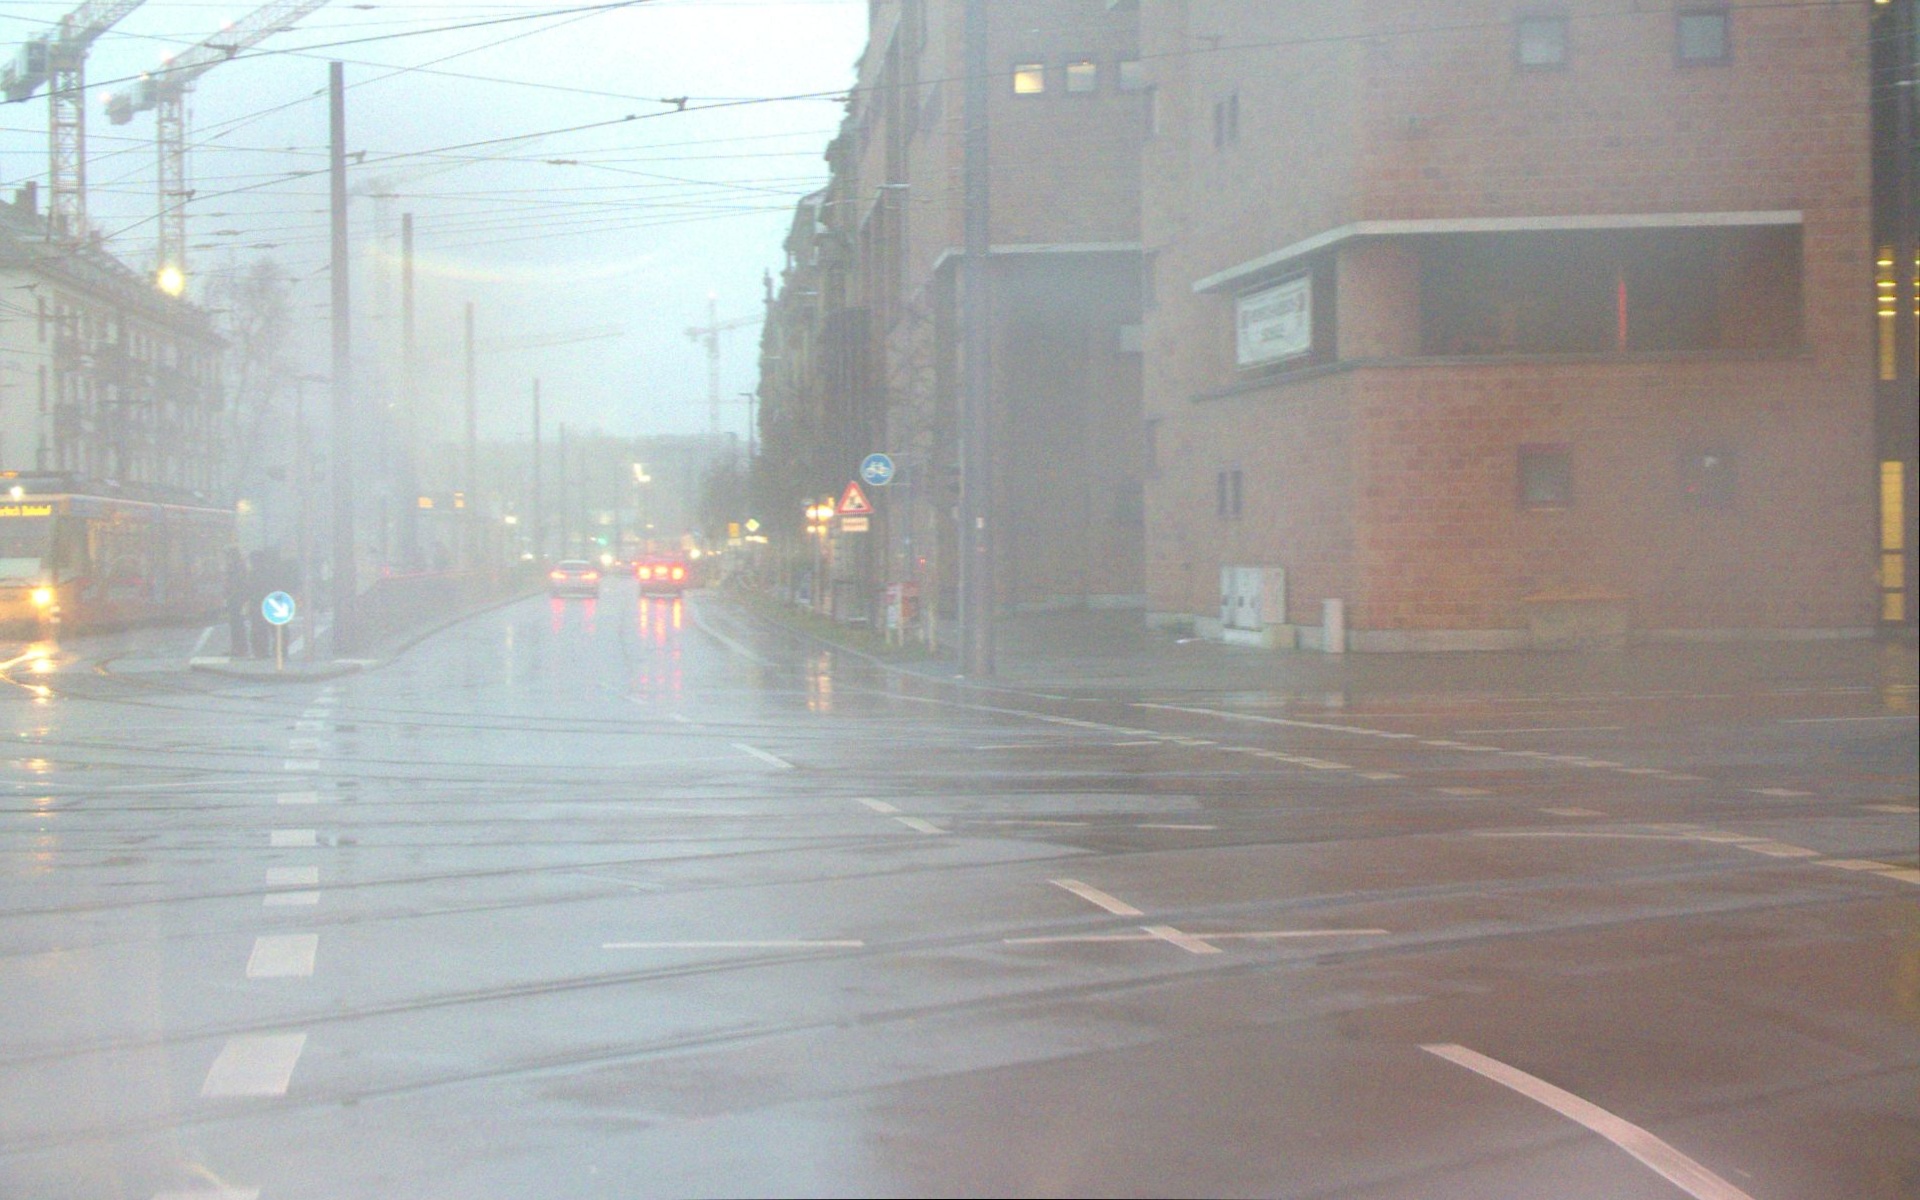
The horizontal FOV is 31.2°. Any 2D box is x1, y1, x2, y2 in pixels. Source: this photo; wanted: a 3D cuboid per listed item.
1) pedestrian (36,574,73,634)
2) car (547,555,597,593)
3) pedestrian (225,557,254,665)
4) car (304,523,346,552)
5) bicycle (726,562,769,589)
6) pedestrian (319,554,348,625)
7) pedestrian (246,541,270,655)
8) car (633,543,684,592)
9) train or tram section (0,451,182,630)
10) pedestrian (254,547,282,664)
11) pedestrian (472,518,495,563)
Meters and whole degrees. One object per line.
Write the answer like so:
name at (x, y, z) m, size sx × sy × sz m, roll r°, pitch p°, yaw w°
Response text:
pedestrian at (-17.373, 0.075, 65.938) m, size 0.580 × 1.148 × 0.490 m, roll 1°, pitch 1°, yaw -3°
car at (-15.260, -1.039, 135.289) m, size 1.784 × 1.462 × 3.149 m, roll -1°, pitch 1°, yaw -3°
pedestrian at (-11.674, 0.176, 55.680) m, size 0.433 × 1.729 × 0.473 m, roll 0°, pitch 1°, yaw -10°
car at (-30.701, -3.009, 166.344) m, size 1.681 × 1.349 × 3.547 m, roll 1°, pitch 0°, yaw -6°
bicycle at (-8.676, -1.014, 140.448) m, size 1.729 × 1.051 × 0.371 m, roll -2°, pitch 1°, yaw -6°
pedestrian at (-14.146, -0.238, 77.613) m, size 0.618 × 1.584 × 0.622 m, roll 0°, pitch 1°, yaw -7°
pedestrian at (-11.019, -0.039, 53.967) m, size 0.359 × 1.780 × 0.440 m, roll 0°, pitch 1°, yaw -10°
car at (-12.562, -1.369, 143.418) m, size 1.993 × 2.007 × 4.001 m, roll -1°, pitch 1°, yaw -3°
train or tram section at (-19.510, -1.305, 75.421) m, size 2.949 × 3.577 × 12.257 m, roll 1°, pitch 1°, yaw -4°
pedestrian at (-10.956, 0.080, 54.469) m, size 0.412 × 1.839 × 0.670 m, roll 0°, pitch 1°, yaw -10°
pedestrian at (-16.128, -2.003, 116.397) m, size 0.679 × 1.511 × 0.619 m, roll 0°, pitch 1°, yaw -17°
